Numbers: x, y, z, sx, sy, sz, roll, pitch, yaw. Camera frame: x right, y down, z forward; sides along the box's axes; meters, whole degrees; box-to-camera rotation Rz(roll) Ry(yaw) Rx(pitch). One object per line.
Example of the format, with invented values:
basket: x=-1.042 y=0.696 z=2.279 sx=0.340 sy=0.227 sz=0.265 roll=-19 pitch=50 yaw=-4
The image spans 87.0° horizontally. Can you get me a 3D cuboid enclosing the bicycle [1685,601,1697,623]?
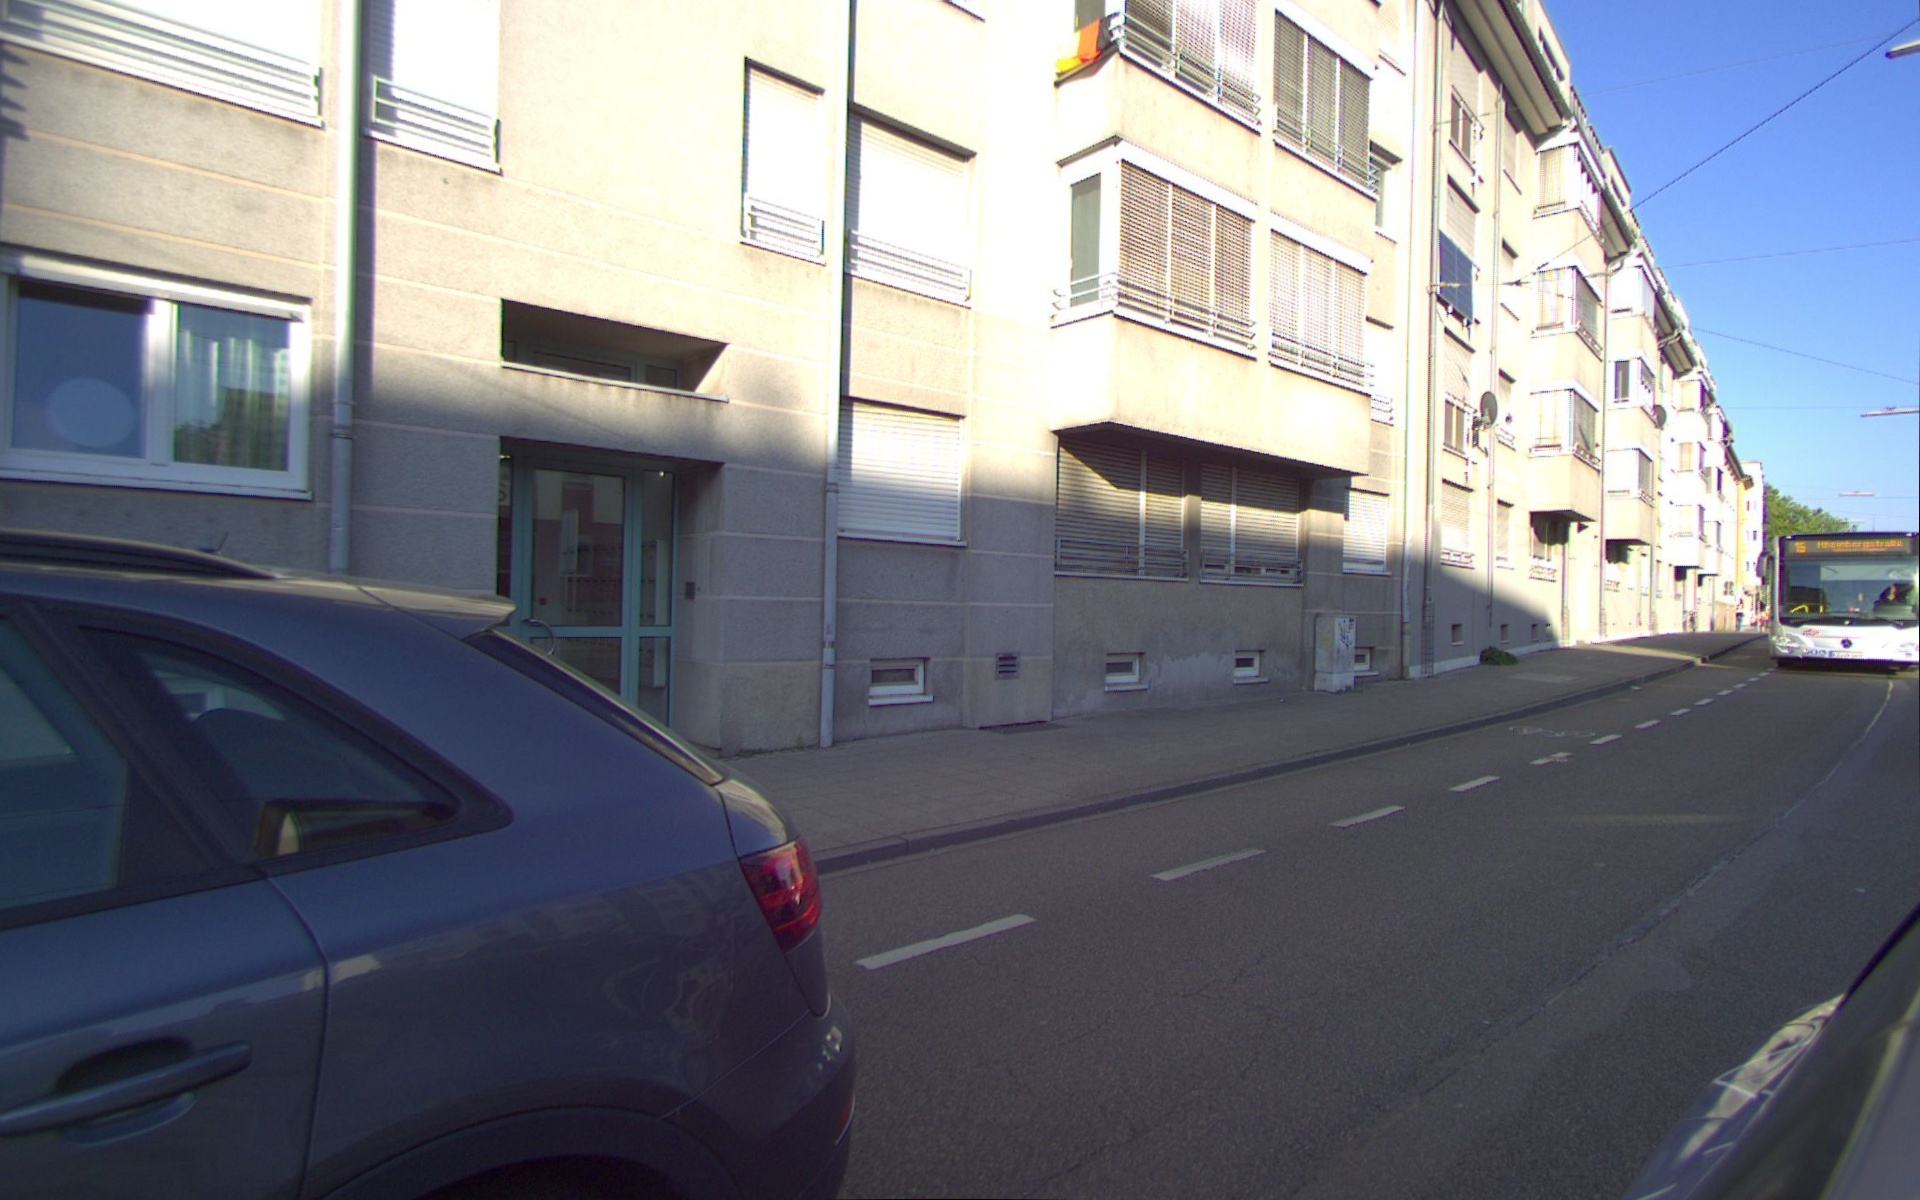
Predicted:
bicycle: x=34.303 y=0.565 z=47.488 sx=0.278 sy=0.983 sz=1.705 roll=5 pitch=2 yaw=40

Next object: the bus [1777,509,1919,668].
bus: x=21.722 y=-0.190 z=24.405 sx=2.722 sy=3.116 sz=10.441 roll=-1 pitch=-1 yaw=41

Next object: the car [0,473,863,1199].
car: x=-2.229 y=0.654 z=0.949 sx=3.998 sy=1.607 sz=1.769 roll=1 pitch=0 yaw=-43

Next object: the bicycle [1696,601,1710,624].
bicycle: x=34.700 y=0.564 z=47.263 sx=0.359 sy=1.044 sz=1.705 roll=5 pitch=2 yaw=40

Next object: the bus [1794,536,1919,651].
bus: x=28.573 y=-0.128 z=32.296 sx=2.702 sy=3.116 sz=10.441 roll=-1 pitch=-1 yaw=41
